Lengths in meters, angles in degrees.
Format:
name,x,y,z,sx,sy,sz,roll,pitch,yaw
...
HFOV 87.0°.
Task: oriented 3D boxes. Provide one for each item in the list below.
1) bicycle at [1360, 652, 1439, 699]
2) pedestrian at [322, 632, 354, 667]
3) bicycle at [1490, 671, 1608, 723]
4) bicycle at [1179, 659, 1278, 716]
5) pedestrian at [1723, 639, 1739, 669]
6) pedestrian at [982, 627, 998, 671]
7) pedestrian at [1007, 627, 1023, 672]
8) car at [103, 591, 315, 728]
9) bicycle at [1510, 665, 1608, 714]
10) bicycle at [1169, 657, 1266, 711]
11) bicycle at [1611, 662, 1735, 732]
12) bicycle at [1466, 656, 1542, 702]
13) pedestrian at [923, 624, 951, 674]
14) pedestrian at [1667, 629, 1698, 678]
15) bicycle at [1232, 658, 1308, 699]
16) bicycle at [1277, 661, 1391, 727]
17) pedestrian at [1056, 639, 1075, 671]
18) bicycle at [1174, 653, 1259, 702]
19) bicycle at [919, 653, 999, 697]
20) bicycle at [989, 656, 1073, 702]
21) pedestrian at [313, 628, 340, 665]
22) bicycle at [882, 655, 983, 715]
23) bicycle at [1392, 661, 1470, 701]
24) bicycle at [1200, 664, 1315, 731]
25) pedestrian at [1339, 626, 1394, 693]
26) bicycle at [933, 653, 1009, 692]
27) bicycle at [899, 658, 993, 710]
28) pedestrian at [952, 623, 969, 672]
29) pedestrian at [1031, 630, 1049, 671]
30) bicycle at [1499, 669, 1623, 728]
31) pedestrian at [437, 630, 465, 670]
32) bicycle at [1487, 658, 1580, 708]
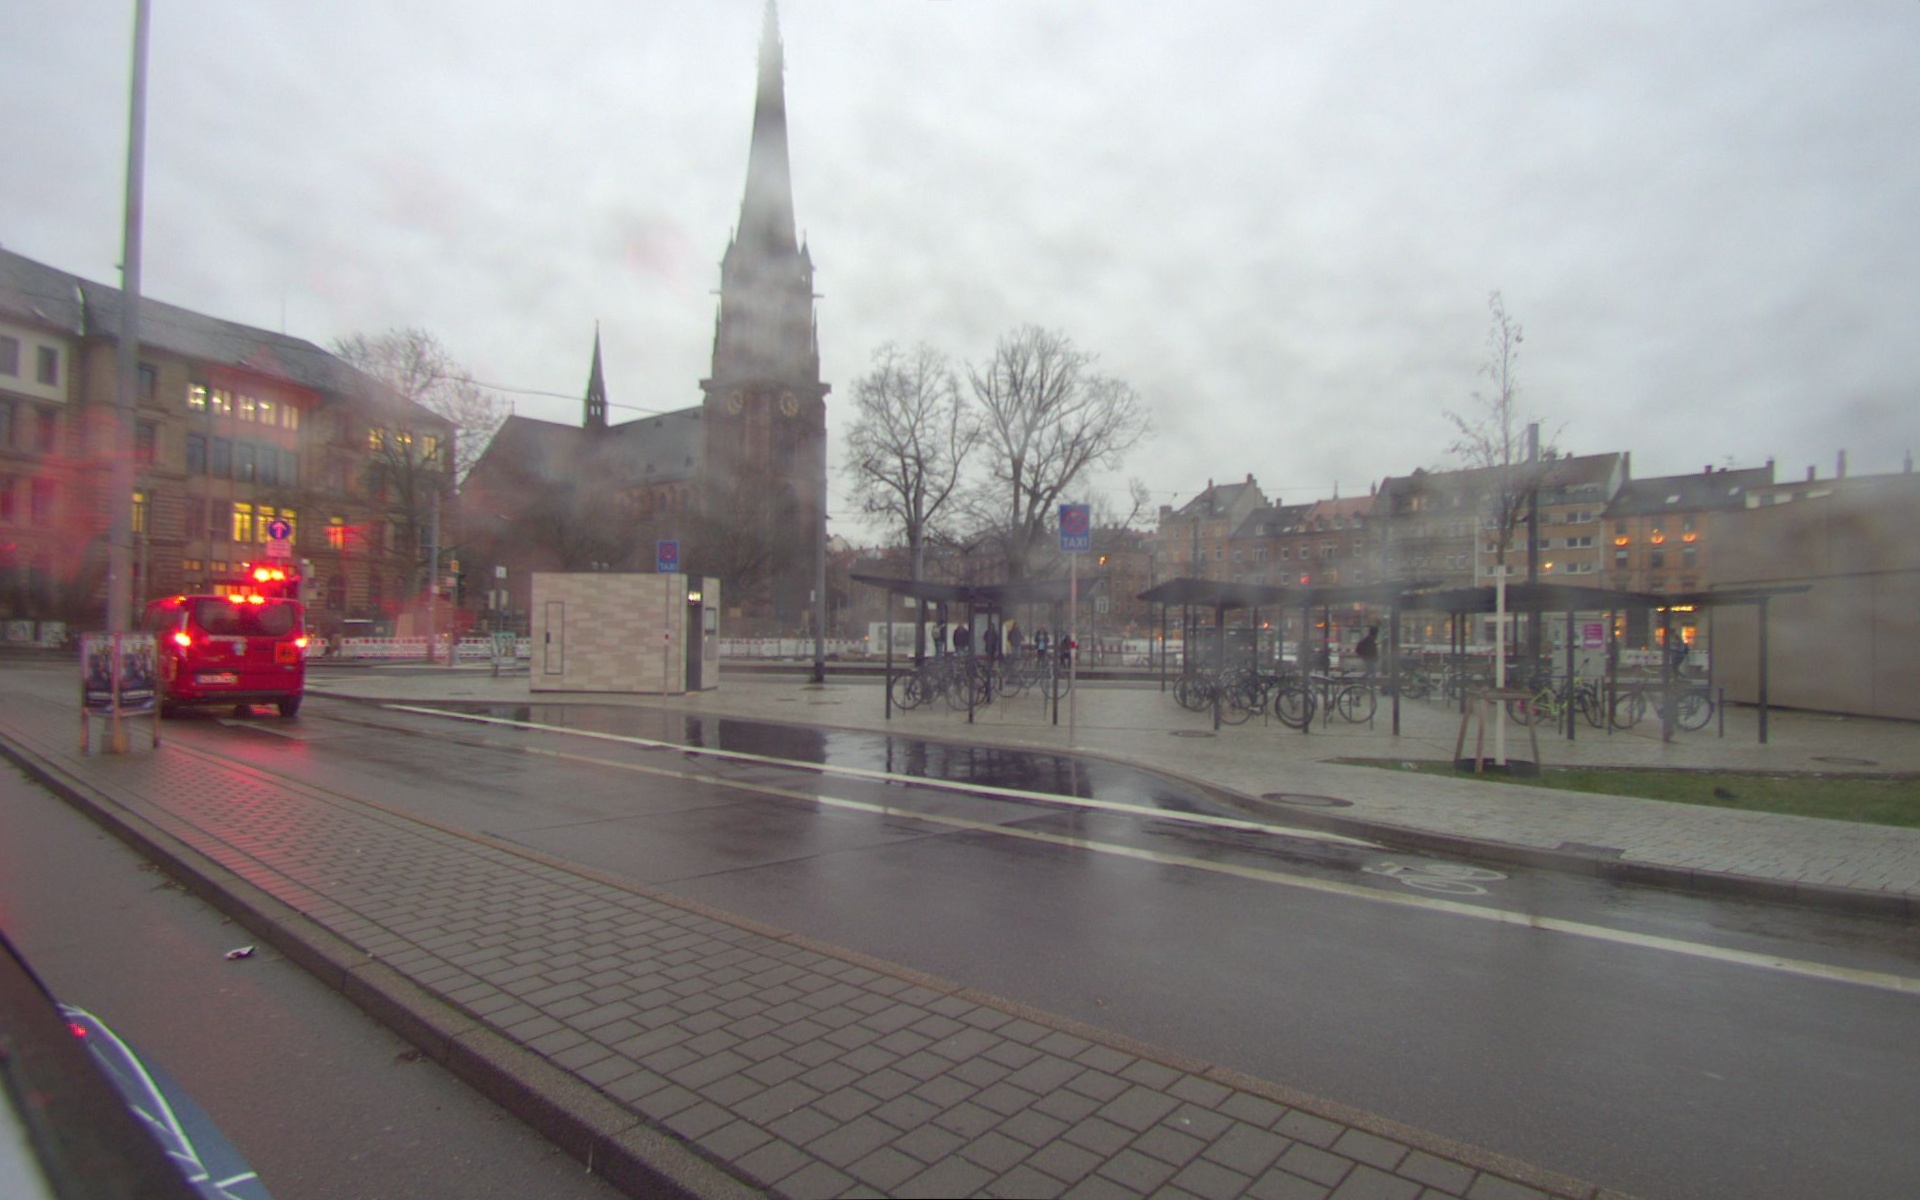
name,x,y,z,sx,sy,sz,roll,pitch,yaw
bicycle,11.188,1.925,25.799,1.780,1.116,0.473,1,-1,11
pedestrian,-29.902,2.371,48.640,1.202,1.673,0.767,-1,0,26
bicycle,11.371,1.862,19.568,1.905,0.898,0.473,1,-1,11
bicycle,5.448,1.774,20.614,1.905,1.078,0.473,1,-1,11
pedestrian,52.755,3.668,69.255,0.579,2.029,0.707,3,-4,-40
pedestrian,1.152,1.859,38.648,0.556,1.664,0.540,-1,0,-1
pedestrian,2.072,1.856,38.111,0.543,1.648,0.571,-1,0,-1
car,-13.245,0.995,17.745,4.640,2.086,1.904,-1,-4,40
bicycle,12.904,1.919,21.827,1.751,0.963,0.473,1,-1,11
bicycle,5.434,1.773,21.398,1.899,1.078,0.474,1,-1,2
bicycle,12.693,1.724,18.043,1.731,1.165,0.617,1,-1,1
bicycle,13.236,1.916,24.661,1.551,1.044,0.521,1,-1,1
pedestrian,-0.865,1.813,37.881,0.825,1.808,0.662,-1,0,34
pedestrian,25.352,1.877,35.523,0.689,1.679,0.530,1,-3,-14
bicycle,7.666,1.942,25.067,1.729,0.946,0.474,1,-1,7
bicycle,6.949,1.735,18.863,1.905,1.129,0.473,1,-1,11
pedestrian,3.984,2.072,38.321,0.610,1.165,0.806,-1,0,-1
bicycle,6.067,1.829,24.037,1.905,1.078,0.473,1,-1,11
bicycle,-0.011,1.828,24.866,1.905,0.993,0.473,1,-1,11
bicycle,1.643,1.821,23.420,1.905,0.993,0.473,1,-1,11
pedestrian,-31.749,2.348,50.734,0.884,1.830,0.675,1,-2,-7
bicycle,-0.535,1.653,19.864,1.905,1.078,0.473,1,-1,11
bicycle,11.625,1.991,24.988,1.672,0.898,0.474,1,-1,5
bicycle,5.260,1.720,17.953,1.905,1.078,0.473,1,-1,11
pedestrian,10.936,1.596,27.279,1.052,1.778,1.011,0,-3,0
bicycle,0.275,1.868,26.123,1.905,0.917,0.473,1,-1,11
bicycle,-0.284,1.733,21.101,1.905,0.993,0.473,1,-1,11
pedestrian,0.008,1.802,38.575,0.619,1.808,0.672,-1,0,-1
pedestrian,3.038,1.911,38.329,0.580,1.513,0.675,-1,0,-1
bicycle,11.129,1.814,18.781,1.905,0.983,0.473,1,-1,11
pedestrian,-24.783,2.426,49.269,0.961,1.915,0.673,1,-2,3
bicycle,13.256,1.909,23.414,1.810,1.081,0.474,1,-1,8
